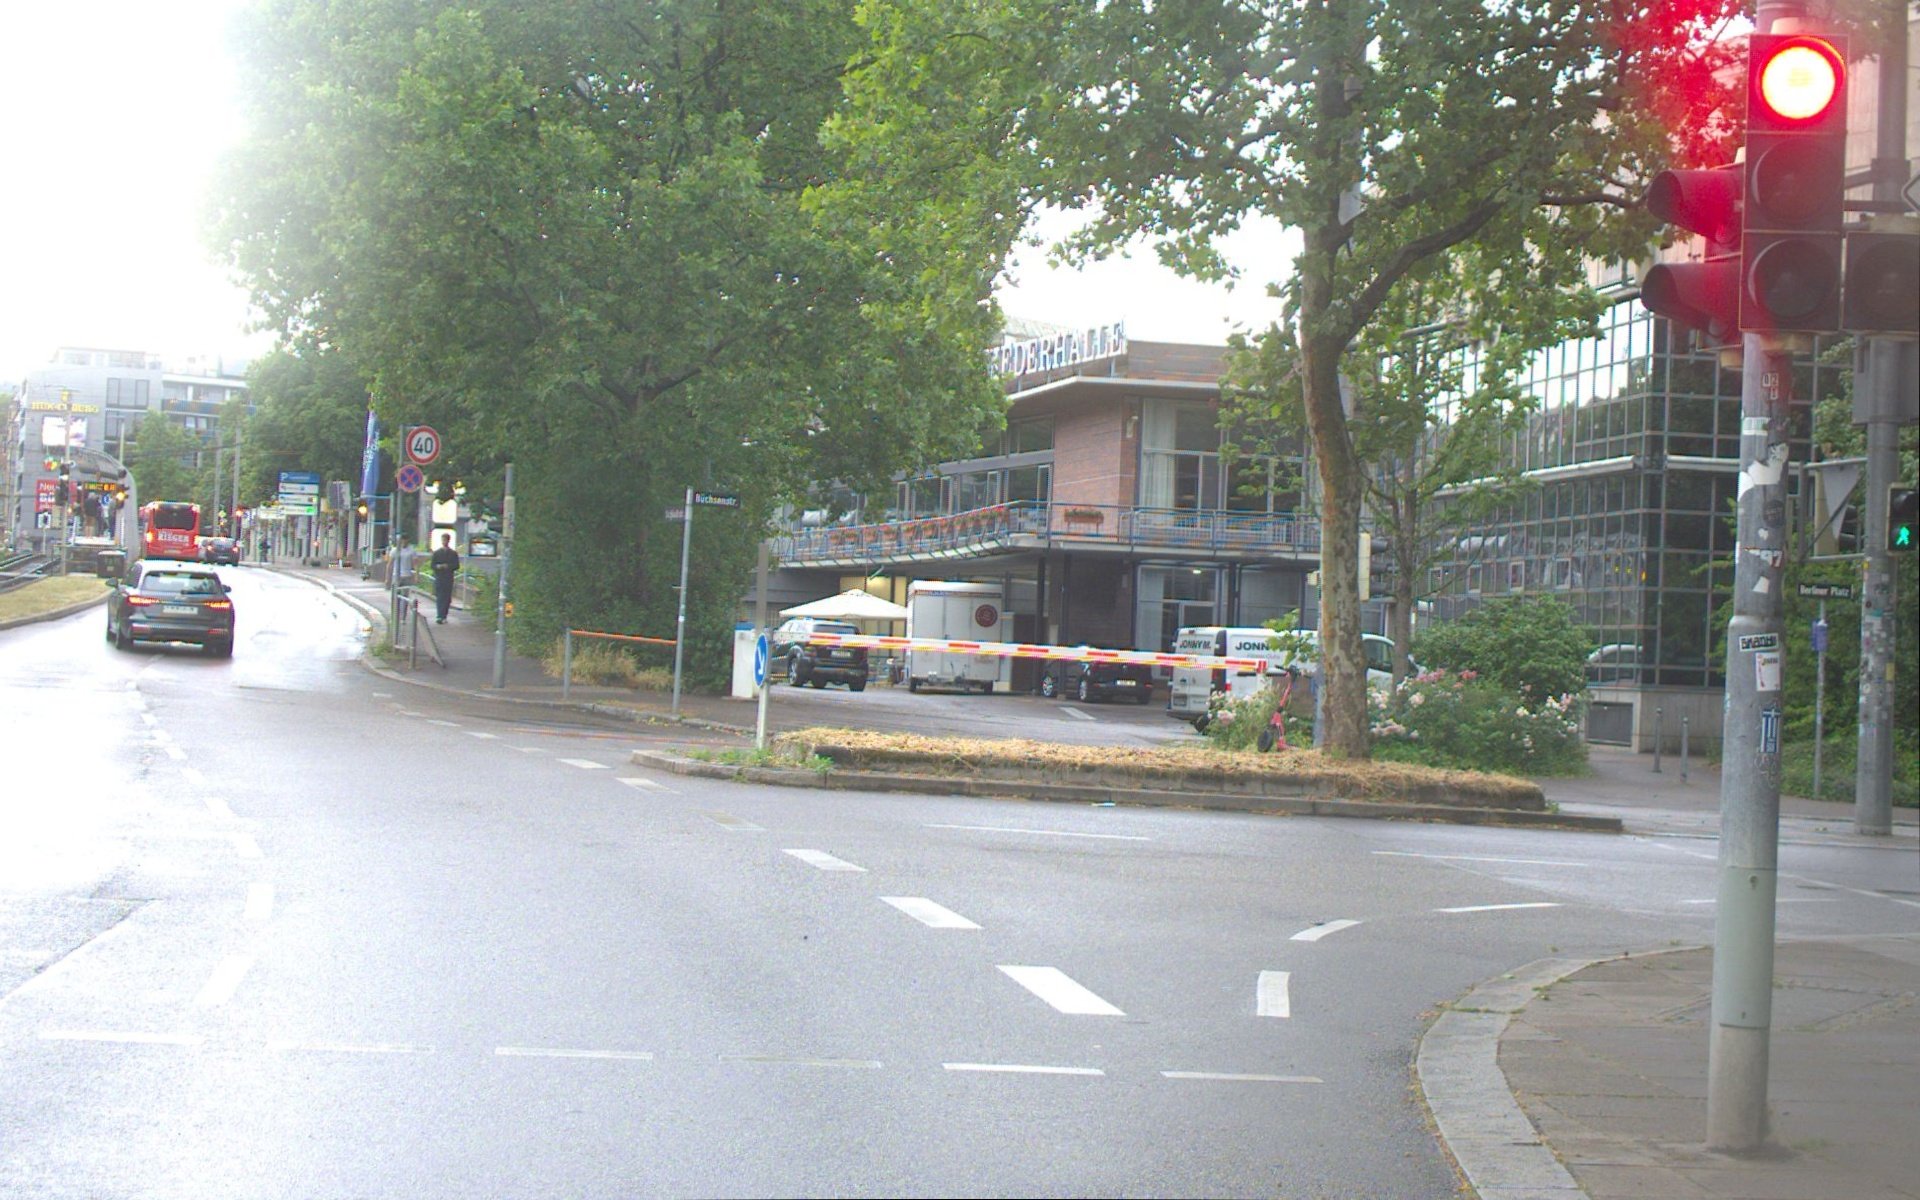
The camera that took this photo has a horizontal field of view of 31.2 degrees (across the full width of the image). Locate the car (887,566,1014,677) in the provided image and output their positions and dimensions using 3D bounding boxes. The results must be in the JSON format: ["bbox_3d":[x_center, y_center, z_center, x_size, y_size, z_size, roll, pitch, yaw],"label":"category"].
[{"bbox_3d":[-0.324,0.524,91.501,2.731,2.686,6.923,3,1,-5],"label":"car"}]

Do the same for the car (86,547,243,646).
[{"bbox_3d":[-12.783,-0.077,55.054,1.993,1.514,4.351,1,1,-19],"label":"car"}]

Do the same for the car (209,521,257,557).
[{"bbox_3d":[-38.397,-3.195,181.409,2.362,1.810,5.185,1,1,-13],"label":"car"}]

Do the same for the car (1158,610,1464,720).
[{"bbox_3d":[6.363,1.182,62.214,5.198,1.725,1.875,3,1,-25],"label":"car"}]

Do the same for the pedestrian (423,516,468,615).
[{"bbox_3d":[-10.532,-0.705,70.357,0.874,2.007,1.077,1,0,-8],"label":"pedestrian"}]

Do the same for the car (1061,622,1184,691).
[{"bbox_3d":[4.186,1.444,89.142,2.019,1.546,4.351,3,1,-13],"label":"car"}]

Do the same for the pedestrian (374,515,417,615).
[{"bbox_3d":[-11.499,-0.714,70.102,0.814,2.007,1.077,1,0,-8],"label":"pedestrian"}]

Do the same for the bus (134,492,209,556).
[{"bbox_3d":[-40.488,-3.850,176.427,3.589,3.160,10.423,1,1,-13],"label":"bus"}]

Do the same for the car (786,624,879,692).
[{"bbox_3d":[-3.237,1.462,87.958,2.019,1.546,4.350,3,1,2],"label":"car"}]
